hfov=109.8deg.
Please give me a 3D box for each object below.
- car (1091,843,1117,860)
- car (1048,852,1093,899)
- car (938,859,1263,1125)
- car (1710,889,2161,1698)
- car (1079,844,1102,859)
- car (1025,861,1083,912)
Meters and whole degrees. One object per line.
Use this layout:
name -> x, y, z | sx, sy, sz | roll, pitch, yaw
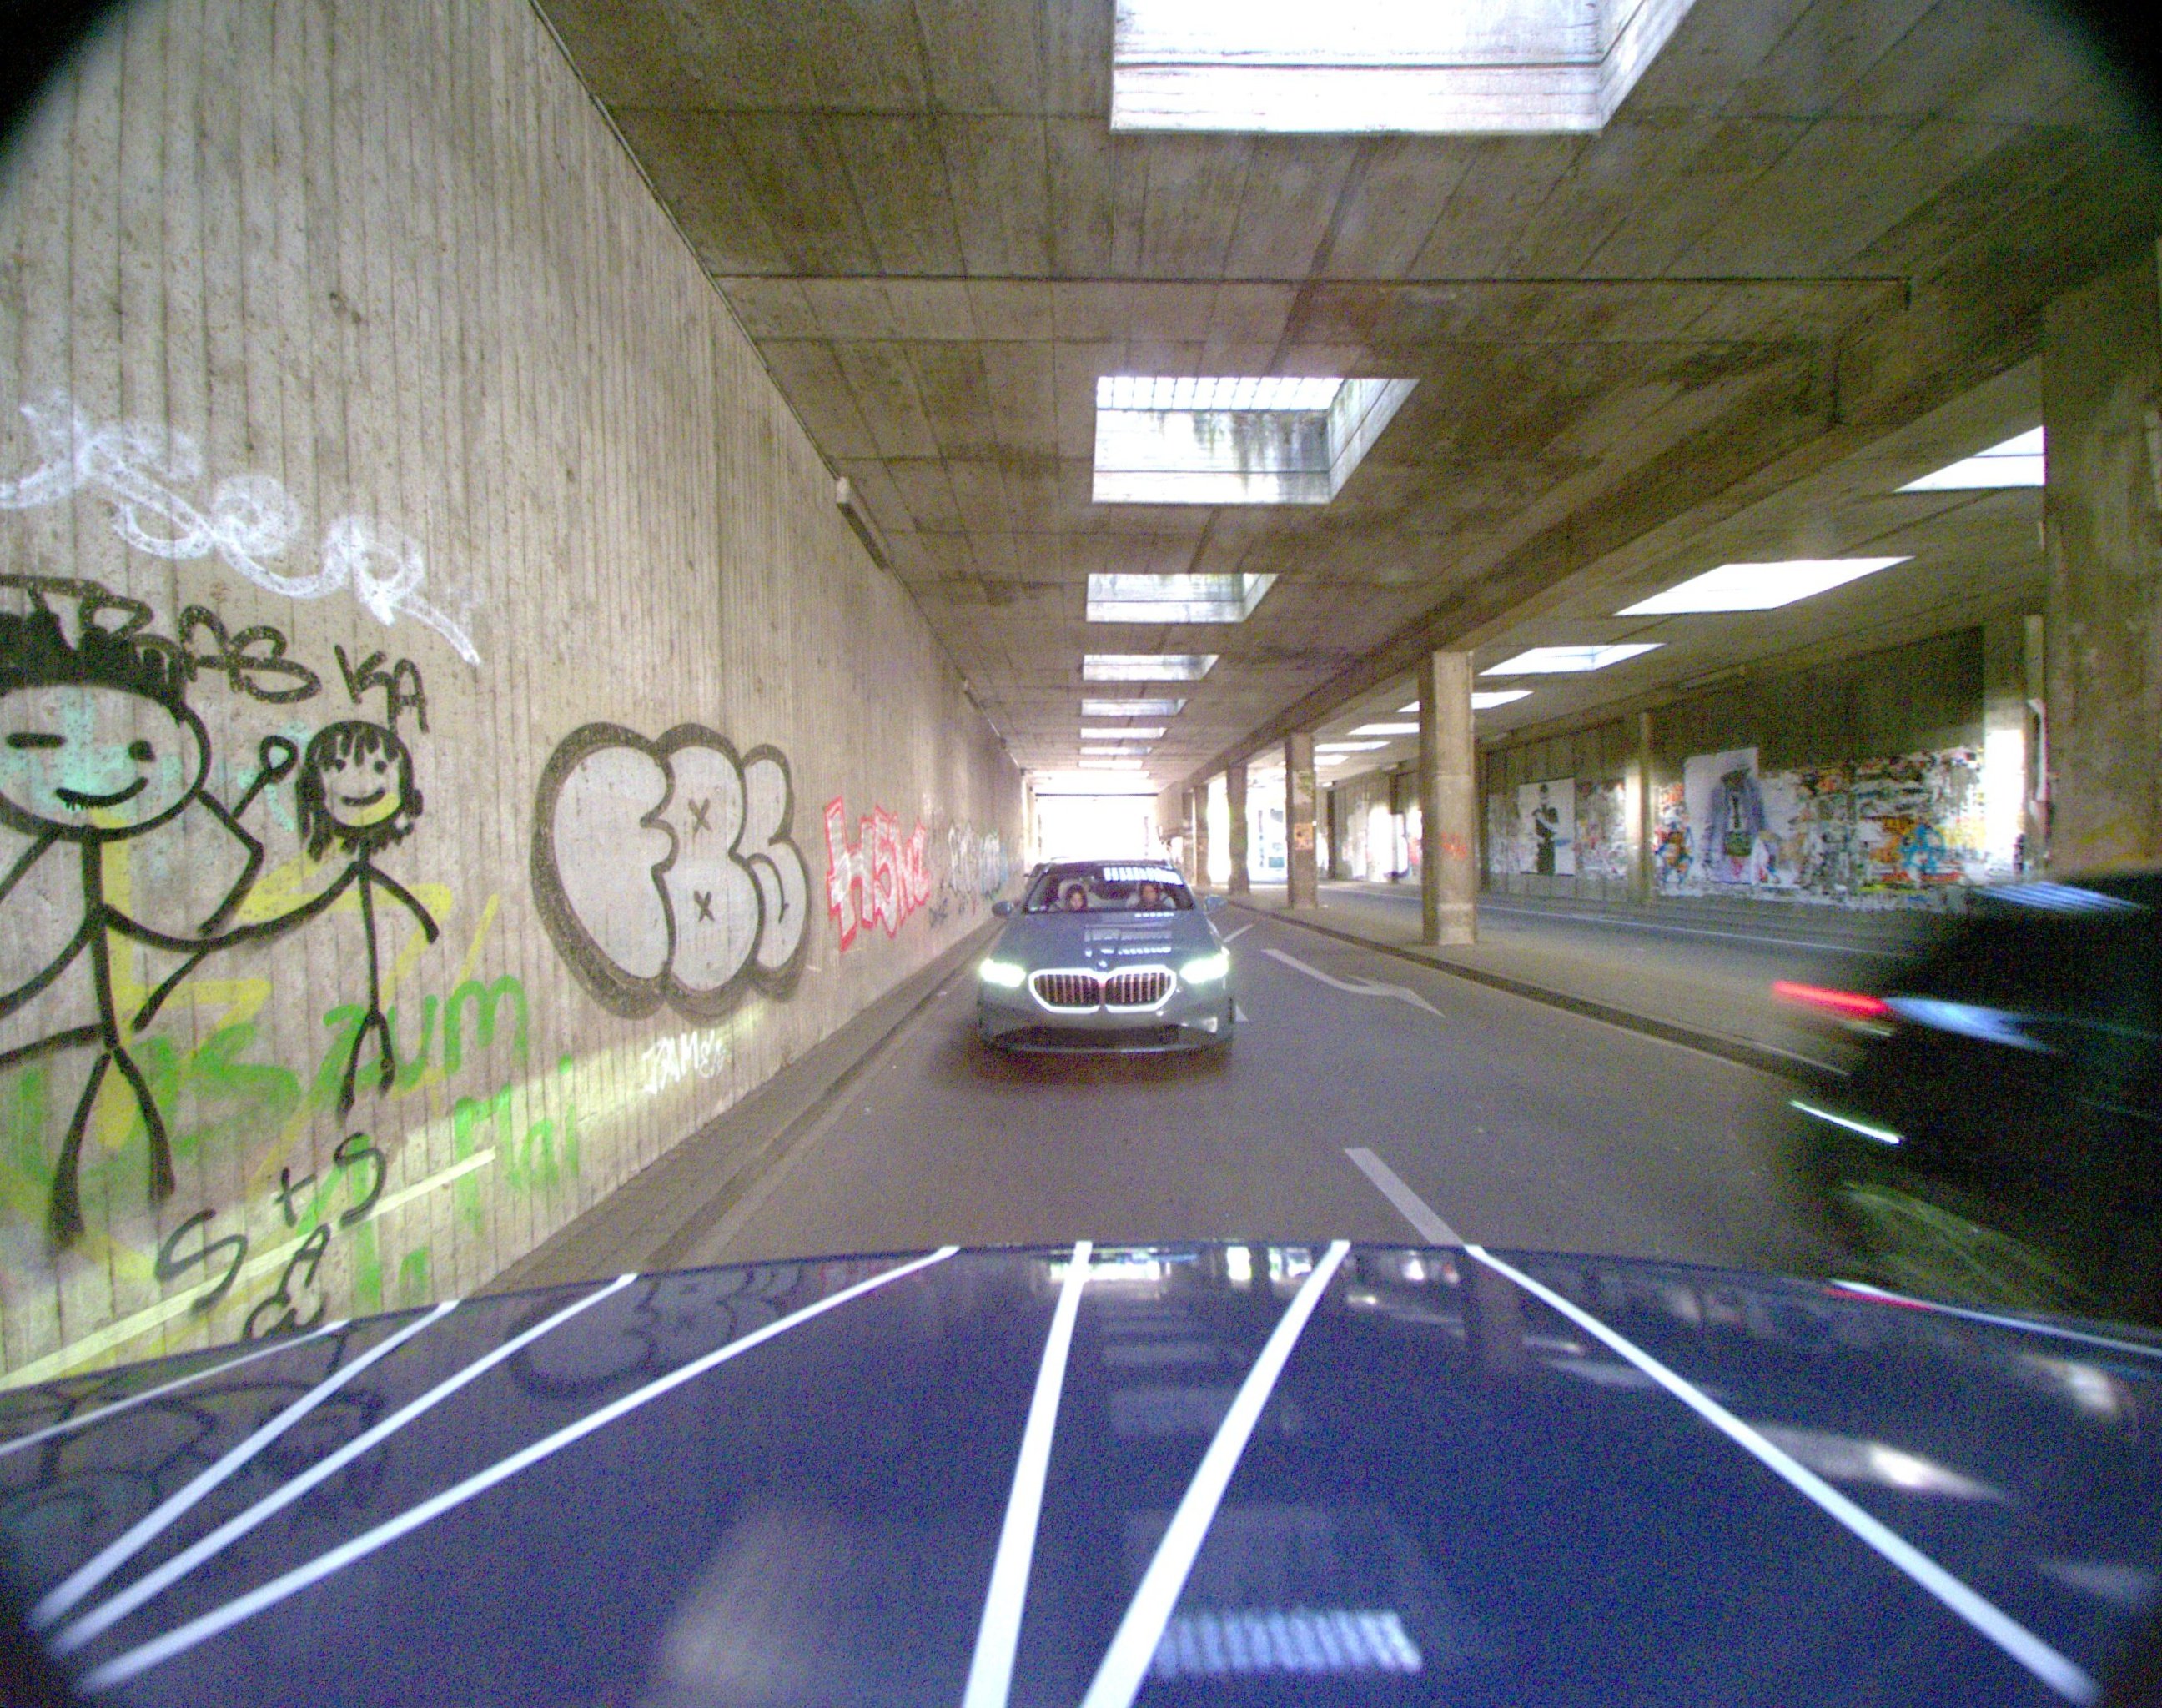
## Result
car -> 2.896, -0.324, 97.543 | 2.361, 2.002, 5.146 | -1, 0, -8
car -> -0.347, 0.772, 29.912 | 1.581, 1.676, 4.078 | -2, 0, 1
car -> 0.200, 0.885, 7.331 | 1.998, 1.594, 5.176 | -1, 0, 2
car -> 2.930, 0.857, 0.344 | 1.784, 1.438, 4.178 | -2, 0, 0
car -> 1.244, -0.329, 103.556 | 2.361, 2.002, 5.146 | -1, 0, -8
car -> -0.771, 0.953, 23.906 | 1.593, 1.387, 3.833 | -2, 0, 1
